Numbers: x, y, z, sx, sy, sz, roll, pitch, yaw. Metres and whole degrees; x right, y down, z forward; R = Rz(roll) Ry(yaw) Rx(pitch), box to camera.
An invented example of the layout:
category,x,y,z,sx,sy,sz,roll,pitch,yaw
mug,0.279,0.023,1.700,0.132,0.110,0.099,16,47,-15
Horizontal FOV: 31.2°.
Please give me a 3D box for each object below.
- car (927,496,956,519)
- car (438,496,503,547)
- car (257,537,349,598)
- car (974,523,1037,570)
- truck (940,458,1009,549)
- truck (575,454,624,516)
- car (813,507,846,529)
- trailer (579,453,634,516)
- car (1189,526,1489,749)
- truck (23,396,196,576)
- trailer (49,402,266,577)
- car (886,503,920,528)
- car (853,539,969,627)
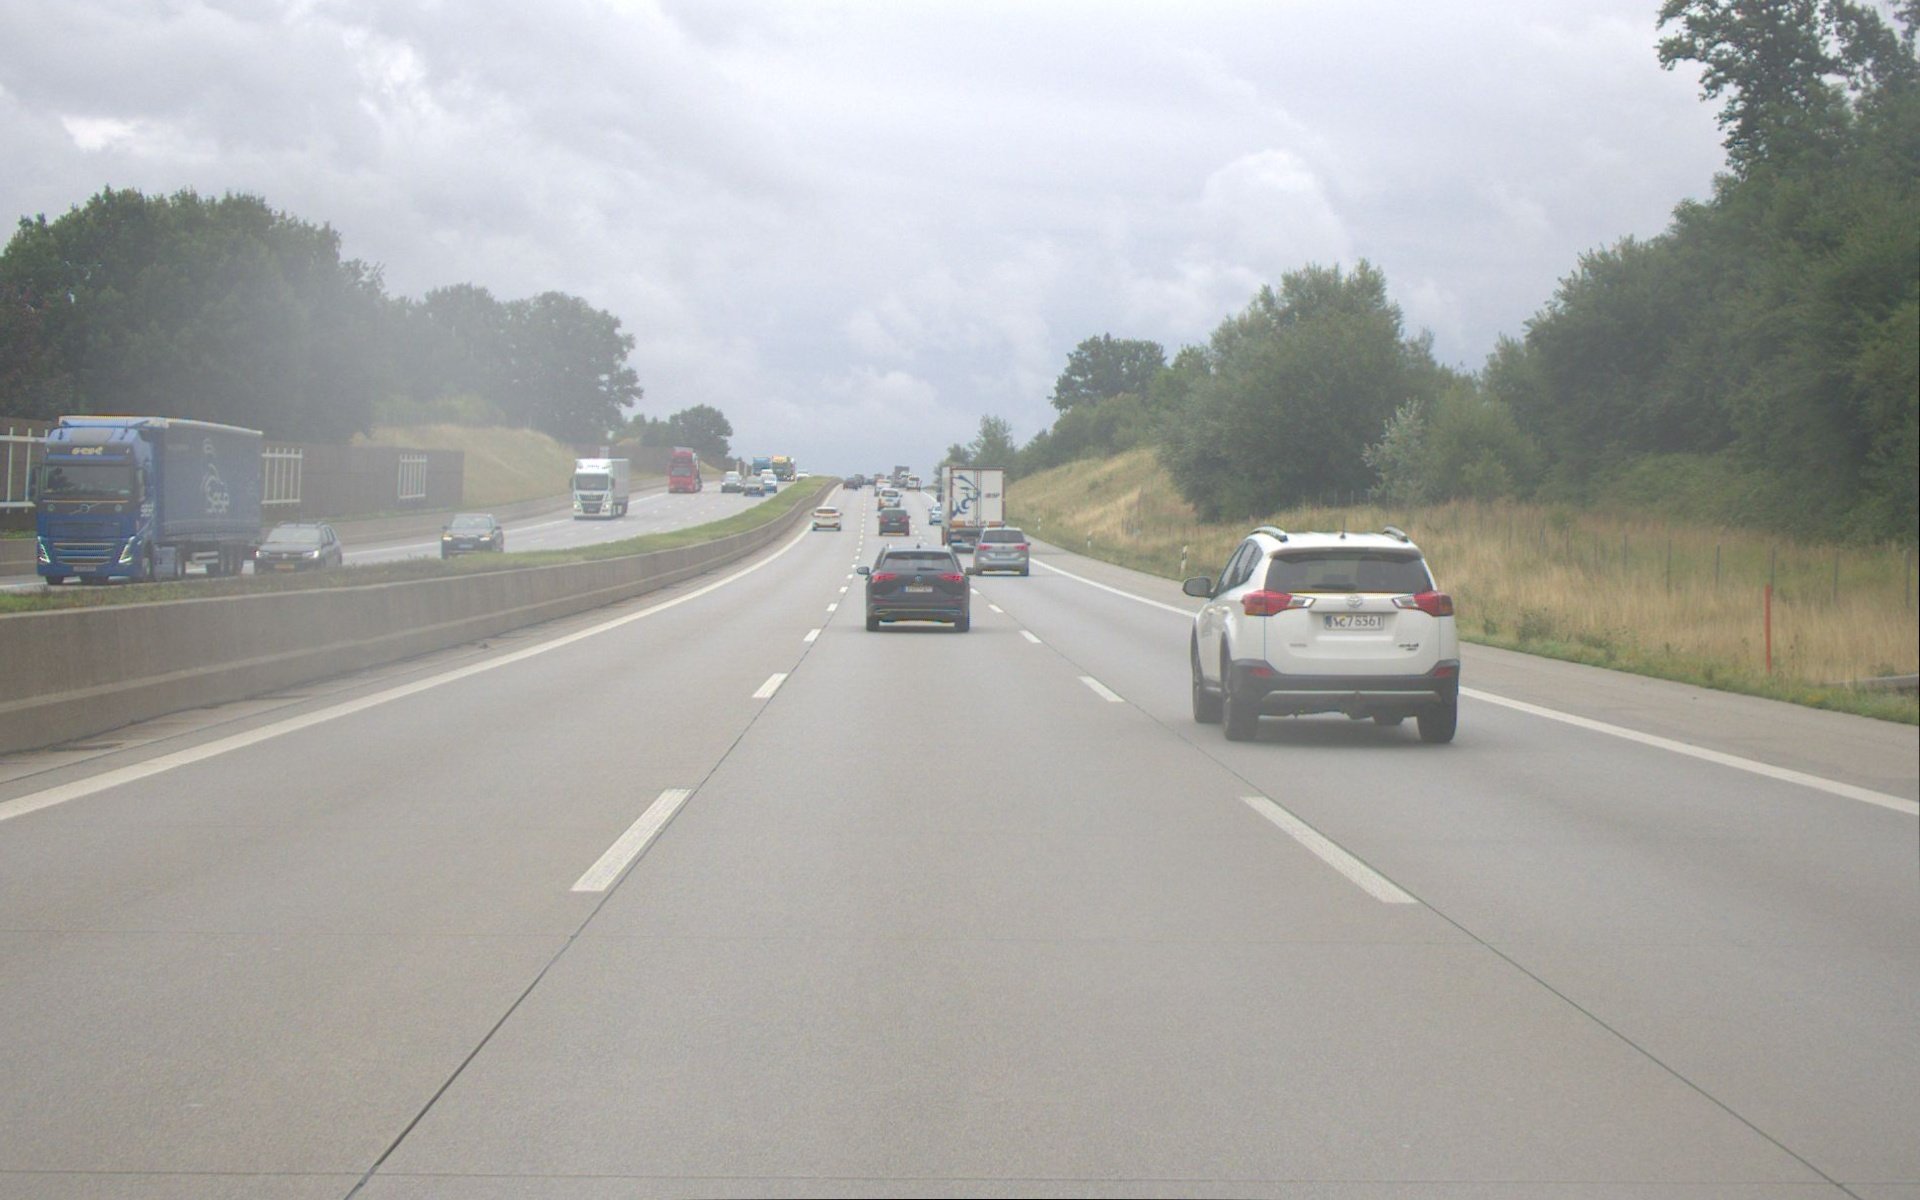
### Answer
category,x,y,z,sx,sy,sz,roll,pitch,yaw
car,-1.319,-6.605,245.349,1.993,1.634,4.000,1,1,1
car,-17.624,-2.825,123.884,1.816,1.761,4.733,1,1,-2
car,-16.736,-0.811,87.710,1.636,1.495,4.519,1,0,-2
car,1.497,-1.797,115.119,1.993,1.525,4.000,1,1,0
truck,0.654,-4.571,163.103,3.017,4.166,8.355,1,1,-1
truck,-24.002,-7.642,229.158,2.682,4.069,6.217,1,1,-1
car,-8.416,-5.324,221.681,1.947,1.351,4.260,1,2,0
trailer,-24.168,-7.858,235.535,2.696,4.082,14.007,1,1,-2
car,2.990,0.249,27.875,1.825,1.650,3.985,1,1,-2
truck,-20.871,-2.731,84.682,2.691,4.174,6.211,1,0,-1
trailer,-21.009,-2.747,90.915,2.710,4.194,13.794,1,0,-1
car,-3.452,-5.118,208.200,1.935,1.370,4.594,1,0,0
car,-0.864,-0.262,58.128,1.752,1.393,4.484,1,-1,-3
